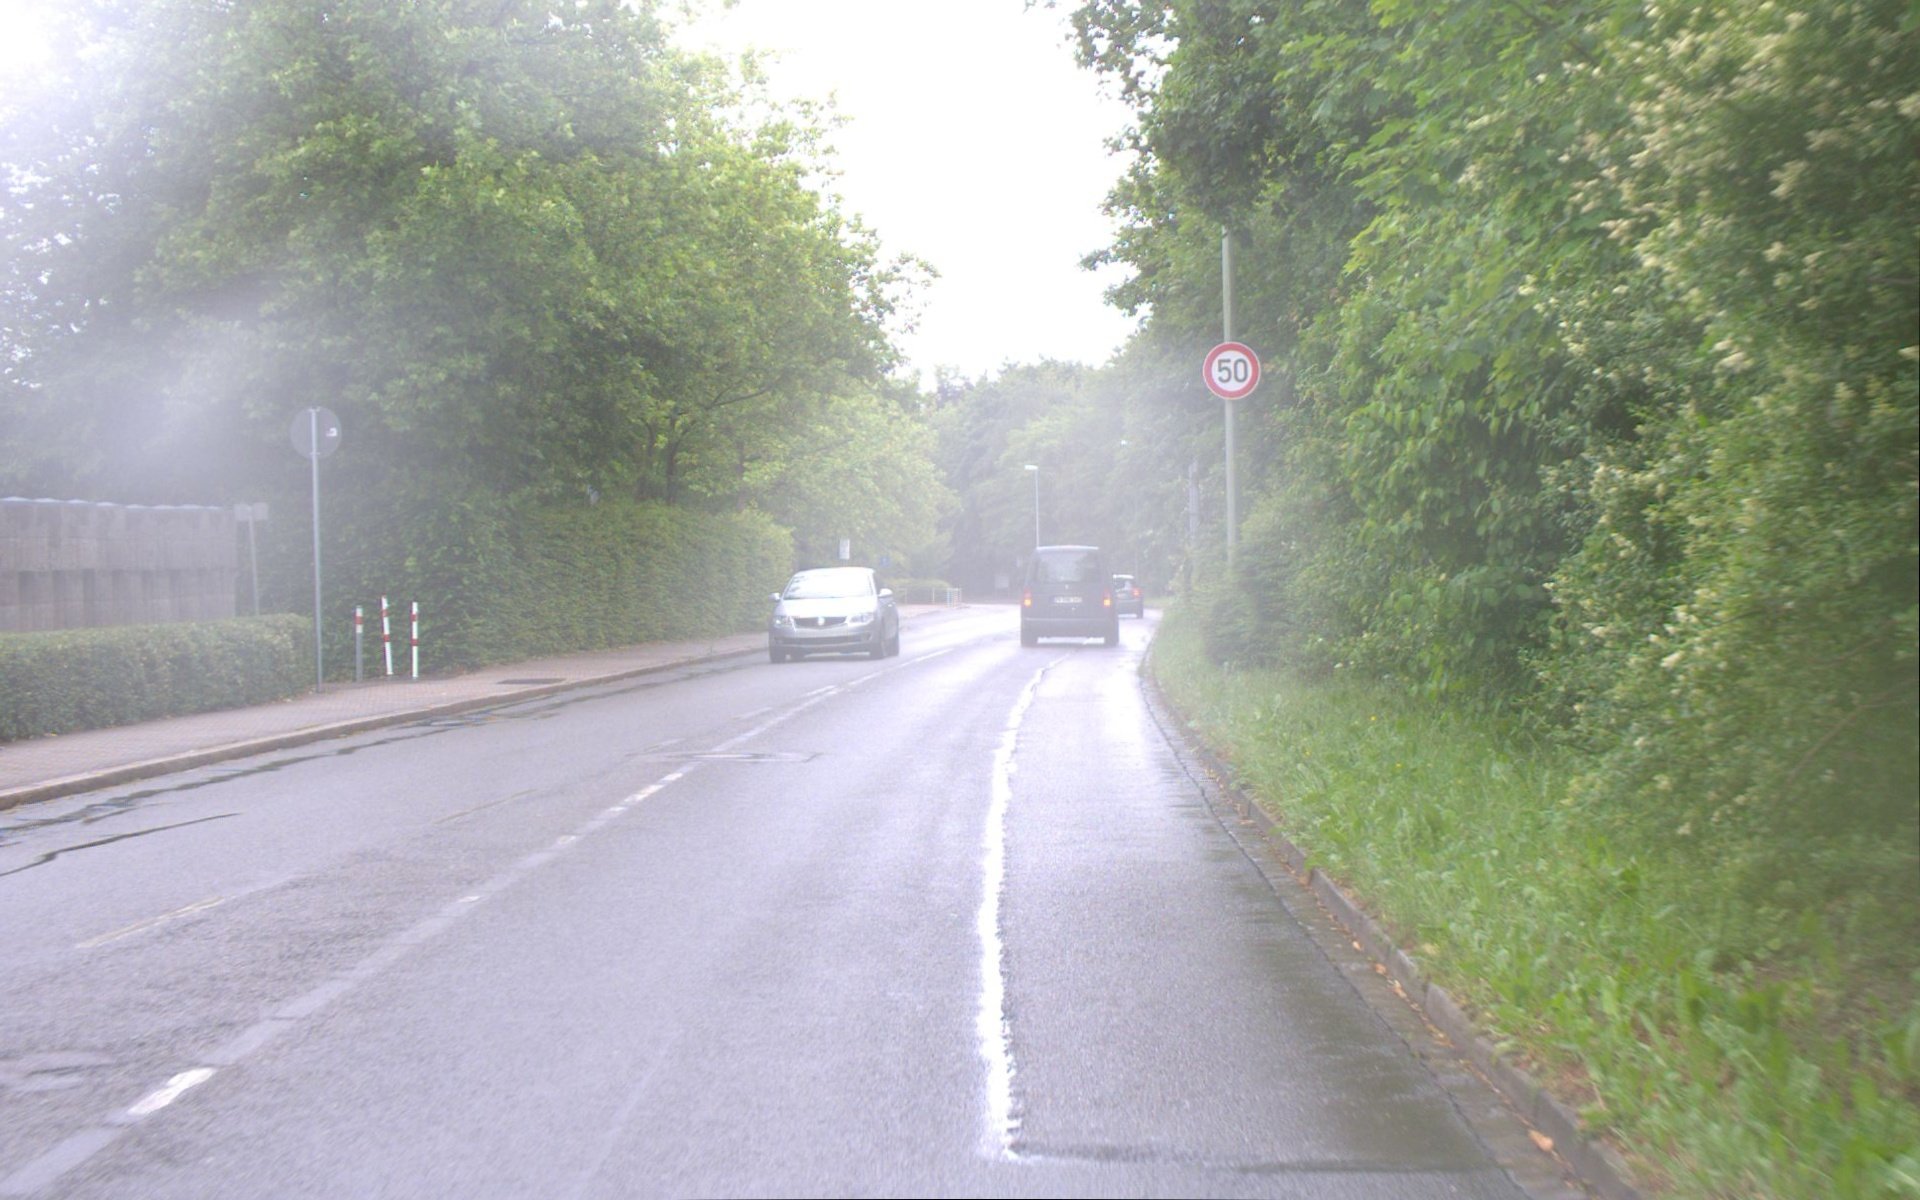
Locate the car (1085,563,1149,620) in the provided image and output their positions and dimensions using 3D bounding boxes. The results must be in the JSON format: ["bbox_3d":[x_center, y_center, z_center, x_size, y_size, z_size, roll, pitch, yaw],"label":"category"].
[{"bbox_3d":[5.297,-0.306,116.354,1.950,1.744,4.000,-1,2,0],"label":"car"}]

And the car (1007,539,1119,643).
[{"bbox_3d":[1.936,-0.194,63.767,1.994,1.787,4.000,1,2,2],"label":"car"}]

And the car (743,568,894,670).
[{"bbox_3d":[-2.200,0.270,54.604,1.993,1.415,4.485,-2,1,2],"label":"car"}]
